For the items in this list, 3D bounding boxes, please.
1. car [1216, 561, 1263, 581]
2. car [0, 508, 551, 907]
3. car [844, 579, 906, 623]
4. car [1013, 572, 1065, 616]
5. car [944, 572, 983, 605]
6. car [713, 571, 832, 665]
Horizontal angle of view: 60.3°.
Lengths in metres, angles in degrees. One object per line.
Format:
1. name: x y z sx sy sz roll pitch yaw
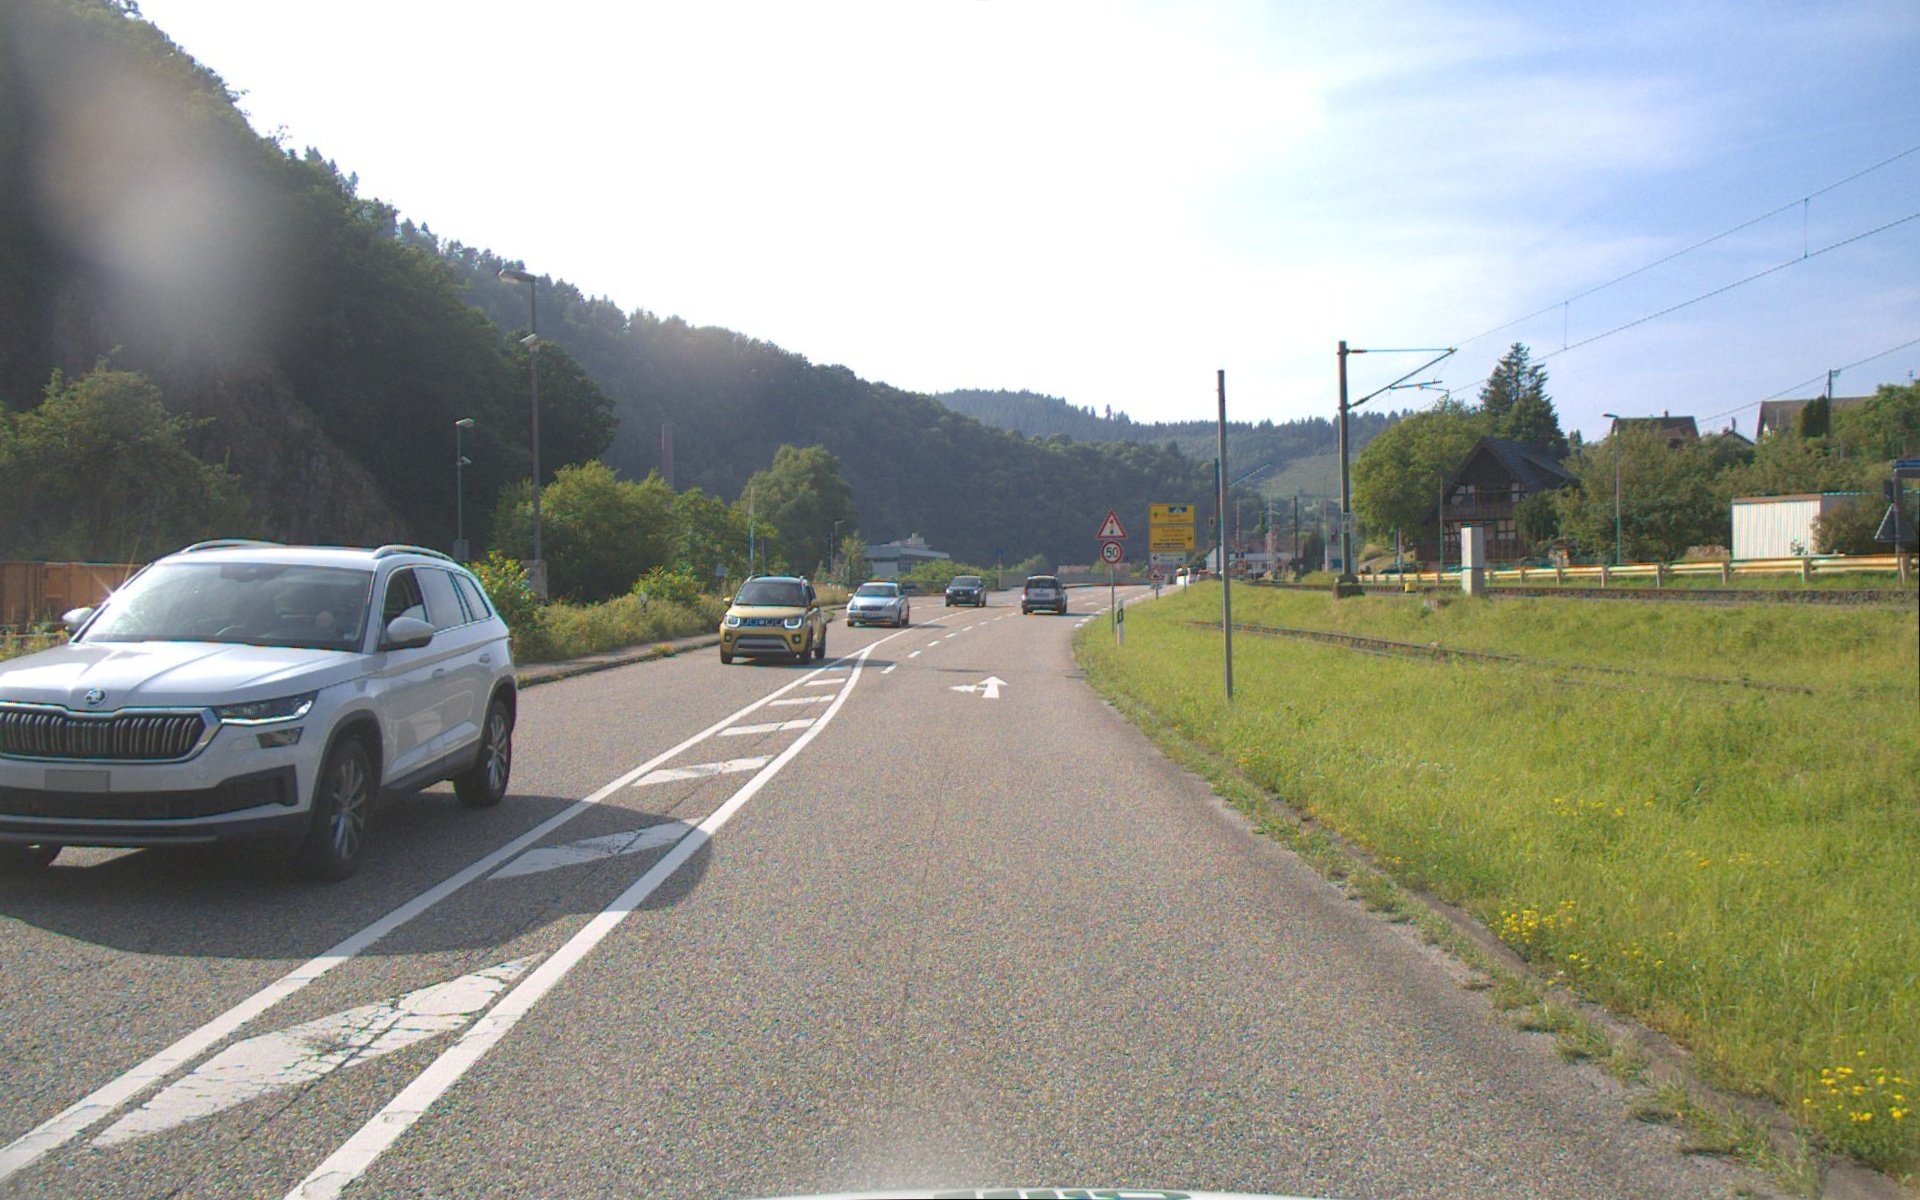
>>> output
1. car: 31.918 -3.328 188.826 5.166 2.048 2.002 -3 0 10
2. car: -3.920 0.481 9.738 1.953 1.789 4.468 1 0 -1
3. car: -2.765 0.008 54.592 1.741 1.371 4.511 1 1 0
4. car: 3.423 -0.254 72.073 1.953 1.753 3.990 -3 0 0
5. car: 0.210 -0.623 84.039 1.808 1.612 4.318 1 1 2
6. car: -3.469 0.288 31.206 1.688 1.653 3.797 0 1 2
